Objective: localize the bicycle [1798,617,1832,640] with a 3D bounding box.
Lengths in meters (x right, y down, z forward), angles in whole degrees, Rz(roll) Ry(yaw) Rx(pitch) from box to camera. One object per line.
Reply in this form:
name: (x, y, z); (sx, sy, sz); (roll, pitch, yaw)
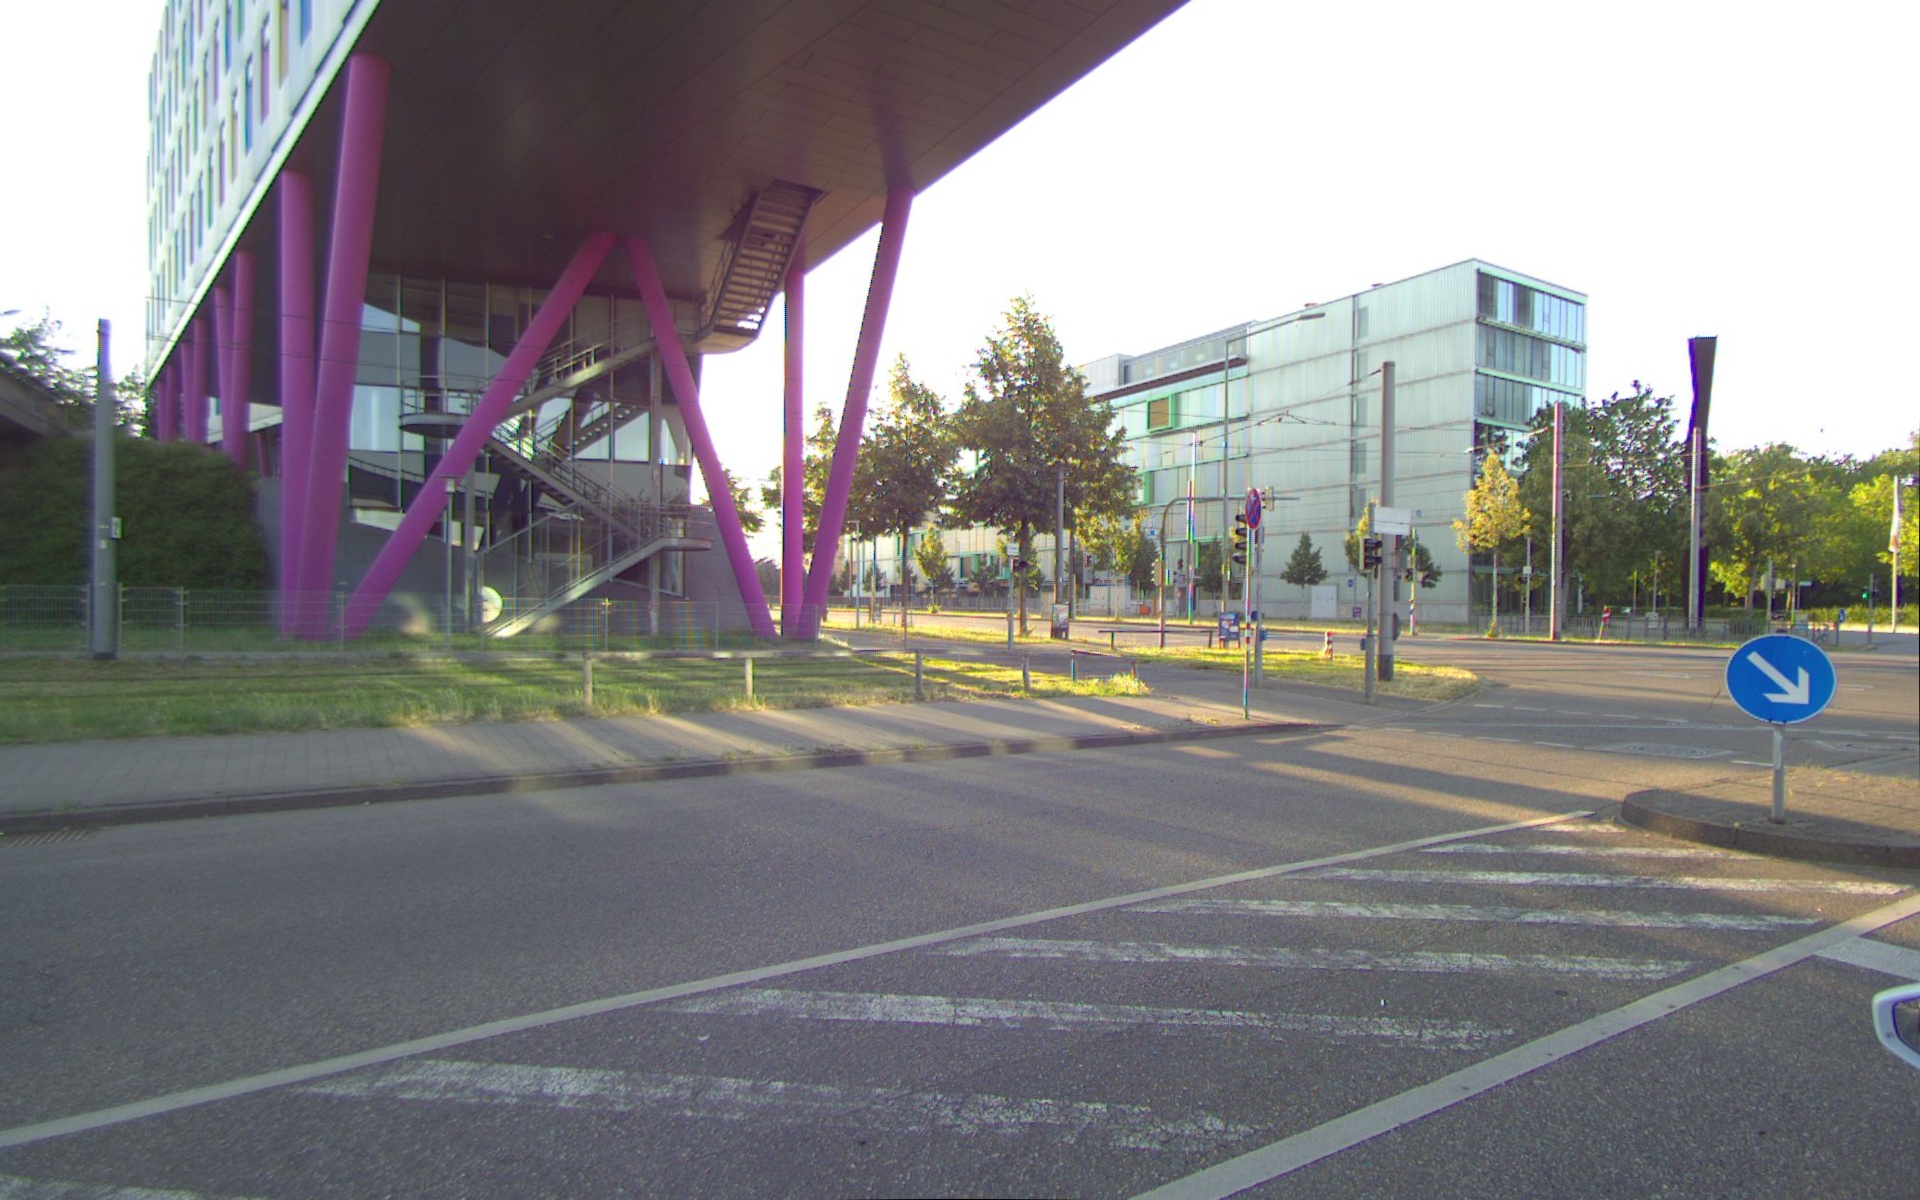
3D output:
bicycle: (44.255, 1.482, 51.967); (2.367, 1.151, 0.695); (1, 0, -33)
